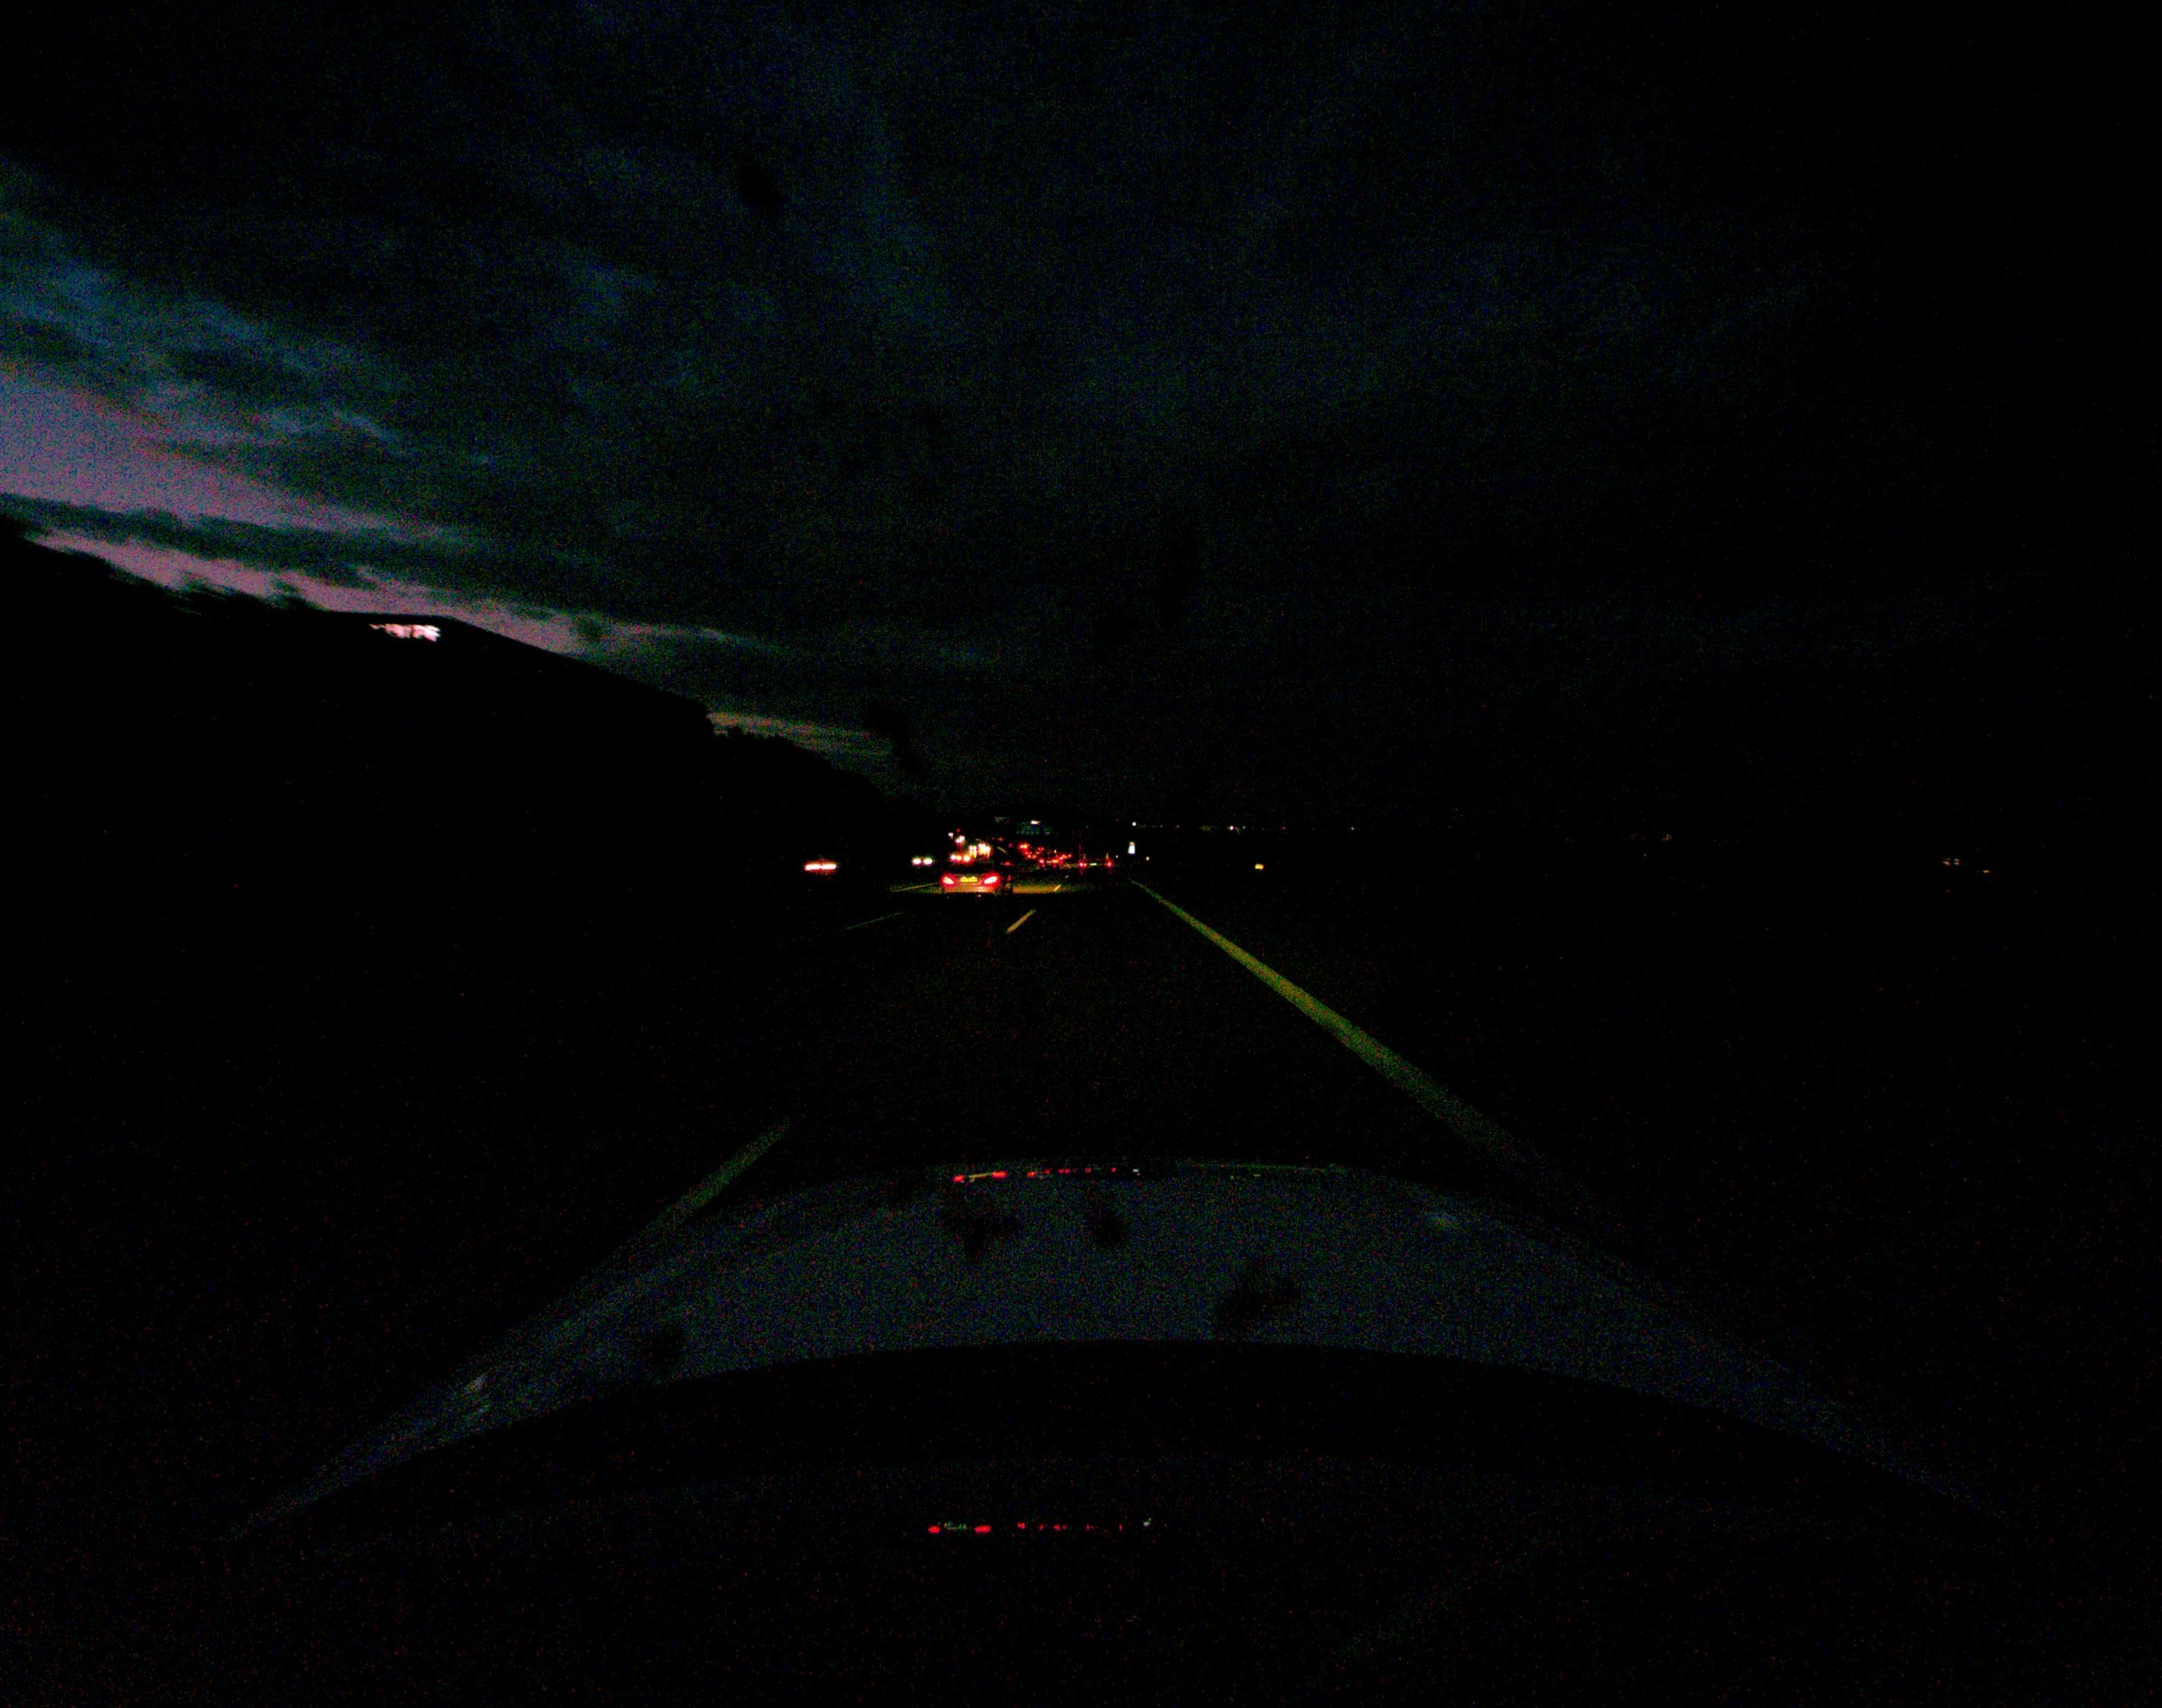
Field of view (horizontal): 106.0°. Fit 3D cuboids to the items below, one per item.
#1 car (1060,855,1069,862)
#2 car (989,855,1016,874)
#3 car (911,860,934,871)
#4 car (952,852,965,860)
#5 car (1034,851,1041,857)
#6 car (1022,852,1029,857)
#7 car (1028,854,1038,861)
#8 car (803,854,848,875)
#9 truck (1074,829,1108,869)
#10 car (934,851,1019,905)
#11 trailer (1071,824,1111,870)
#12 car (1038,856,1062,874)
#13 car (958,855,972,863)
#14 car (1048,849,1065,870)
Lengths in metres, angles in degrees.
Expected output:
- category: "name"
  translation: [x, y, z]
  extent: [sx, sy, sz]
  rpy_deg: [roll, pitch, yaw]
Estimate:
- category: "car"
  translation: [-3.545, 0.901, 176.090]
  extent: [1.988, 1.534, 3.997]
  rpy_deg: [0, 0, -2]
- category: "car"
  translation: [-6.485, 0.863, 67.986]
  extent: [1.756, 1.575, 4.576]
  rpy_deg: [0, 0, 0]
- category: "car"
  translation: [-19.241, 1.356, 98.915]
  extent: [1.828, 1.336, 4.909]
  rpy_deg: [0, 0, 0]
- category: "car"
  translation: [-26.101, 0.414, 173.599]
  extent: [1.988, 1.534, 5.004]
  rpy_deg: [0, 0, -1]
- category: "car"
  translation: [-13.192, 0.010, 247.027]
  extent: [1.992, 1.622, 3.989]
  rpy_deg: [0, 0, -8]
- category: "car"
  translation: [-15.858, 0.194, 231.631]
  extent: [1.991, 1.468, 3.991]
  rpy_deg: [0, 0, -6]
- category: "car"
  translation: [-10.640, 0.736, 180.215]
  extent: [1.990, 1.622, 3.993]
  rpy_deg: [0, 0, -5]
- category: "car"
  translation: [-18.529, 0.767, 59.240]
  extent: [1.987, 1.453, 3.835]
  rpy_deg: [0, 0, 1]
- category: "truck"
  translation: [1.090, -0.485, 87.618]
  extent: [3.539, 4.091, 6.151]
  rpy_deg: [0, -1, 0]
- category: "car"
  translation: [-3.278, 0.718, 26.503]
  extent: [1.899, 1.614, 4.807]
  rpy_deg: [0, 0, 3]
- category: "trailer"
  translation: [0.966, -0.549, 80.262]
  extent: [3.538, 4.116, 15.062]
  rpy_deg: [0, -1, 0]
- category: "car"
  translation: [-2.941, 1.052, 78.001]
  extent: [2.058, 1.686, 4.576]
  rpy_deg: [0, 0, 0]
- category: "car"
  translation: [-21.318, 0.916, 150.274]
  extent: [1.987, 1.505, 4.505]
  rpy_deg: [0, 0, 0]
- category: "car"
  translation: [-2.928, 0.655, 98.068]
  extent: [1.988, 2.380, 3.997]
  rpy_deg: [0, 0, -2]
